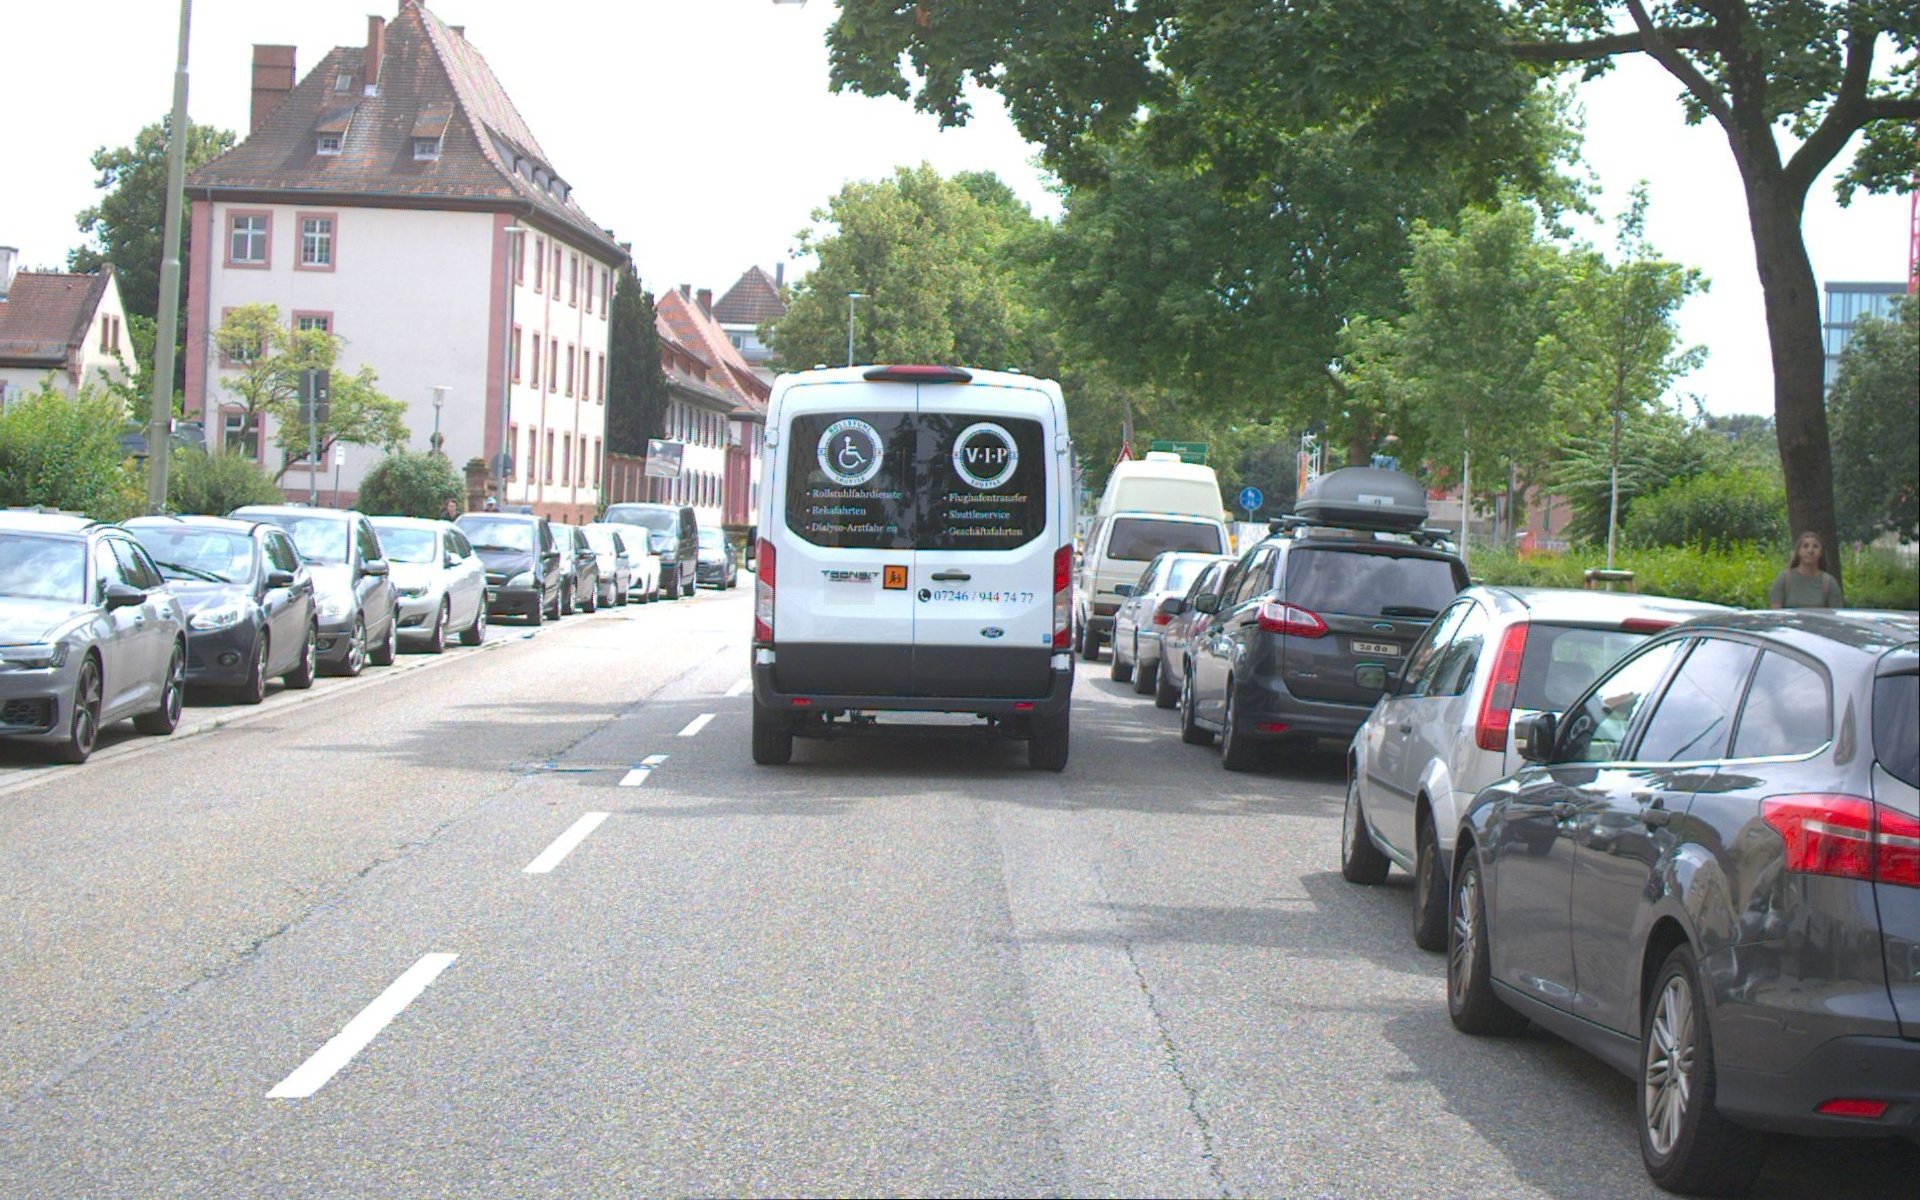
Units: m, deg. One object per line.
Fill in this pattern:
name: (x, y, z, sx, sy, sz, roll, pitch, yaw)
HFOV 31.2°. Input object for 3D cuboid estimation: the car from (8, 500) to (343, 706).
car: (-6.485, -0.028, 28.936, 1.741, 1.491, 4.786, 3, 1, -1)

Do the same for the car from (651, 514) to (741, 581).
car: (-6.385, -1.275, 83.377, 1.786, 1.477, 3.861, 3, 1, 0)

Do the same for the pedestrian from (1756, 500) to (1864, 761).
pedestrian: (6.021, 0.212, 24.361, 0.522, 1.822, 0.524, 1, 1, -10)

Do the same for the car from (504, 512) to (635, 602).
car: (-6.922, -0.780, 61.222, 1.786, 1.457, 3.861, 3, 1, 0)

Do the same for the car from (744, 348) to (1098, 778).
car: (-0.331, -0.254, 22.924, 2.070, 2.531, 4.635, 1, 1, -2)

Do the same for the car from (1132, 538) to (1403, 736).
car: (2.598, 0.269, 29.960, 1.712, 1.459, 4.001, 5, 1, -3)

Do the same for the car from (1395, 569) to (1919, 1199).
car: (2.466, 0.728, 9.676, 1.617, 1.464, 4.392, 4, 1, -3)

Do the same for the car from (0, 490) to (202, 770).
car: (-6.363, 0.080, 22.501, 1.885, 1.574, 5.220, 3, 1, -4)

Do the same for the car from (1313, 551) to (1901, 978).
car: (2.607, 0.582, 14.769, 1.659, 1.451, 4.036, 4, 1, 0)

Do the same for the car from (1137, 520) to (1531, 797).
car: (2.578, 0.324, 25.081, 1.927, 1.655, 5.326, 5, 1, -3)

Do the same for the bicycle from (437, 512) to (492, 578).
bicycle: (-9.074, -1.010, 62.969, 0.541, 1.171, 2.091, 2, 1, 4)

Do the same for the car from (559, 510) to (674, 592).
car: (-6.754, -0.976, 67.913, 1.786, 1.477, 3.861, 3, 1, 0)

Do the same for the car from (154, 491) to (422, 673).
car: (-6.569, -0.216, 34.022, 1.885, 1.574, 4.154, 3, 1, -2)

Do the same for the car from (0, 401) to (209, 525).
car: (-17.727, -2.798, 69.849, 4.409, 2.340, 2.000, 2, 2, 1)

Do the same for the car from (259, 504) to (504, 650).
car: (-6.637, -0.297, 39.920, 1.886, 1.483, 4.634, 3, 1, 1)

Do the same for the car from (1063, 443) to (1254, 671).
car: (2.445, -0.558, 43.558, 1.897, 2.578, 4.829, 5, 1, 0)

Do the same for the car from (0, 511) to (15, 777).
car: (-6.145, 0.252, 17.009, 1.688, 1.491, 4.594, 3, 1, -1)

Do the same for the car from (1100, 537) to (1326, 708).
car: (2.505, 0.173, 35.046, 1.680, 1.464, 4.556, 5, 1, -2)

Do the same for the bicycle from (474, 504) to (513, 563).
bicycle: (-9.547, -1.361, 70.385, 0.541, 1.171, 1.349, 2, 1, 3)

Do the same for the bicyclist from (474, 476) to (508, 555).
bicyclist: (-9.548, -1.720, 70.055, 0.536, 1.580, 0.691, 2, 1, 3)

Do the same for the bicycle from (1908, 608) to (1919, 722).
bicycle: (8.480, 0.552, 27.932, 1.383, 0.913, 0.514, 2, 2, -13)

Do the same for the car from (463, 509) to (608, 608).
car: (-6.875, -0.689, 56.044, 1.786, 1.457, 3.861, 3, 1, 0)

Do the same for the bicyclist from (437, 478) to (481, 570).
bicyclist: (-9.100, -1.374, 62.450, 0.537, 1.647, 1.047, 2, 1, 4)

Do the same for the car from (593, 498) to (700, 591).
car: (-6.627, -1.186, 73.014, 1.786, 1.820, 3.974, 3, 1, 0)

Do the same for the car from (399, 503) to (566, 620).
car: (-6.891, -0.577, 49.923, 1.786, 1.538, 3.861, 3, 1, 0)
